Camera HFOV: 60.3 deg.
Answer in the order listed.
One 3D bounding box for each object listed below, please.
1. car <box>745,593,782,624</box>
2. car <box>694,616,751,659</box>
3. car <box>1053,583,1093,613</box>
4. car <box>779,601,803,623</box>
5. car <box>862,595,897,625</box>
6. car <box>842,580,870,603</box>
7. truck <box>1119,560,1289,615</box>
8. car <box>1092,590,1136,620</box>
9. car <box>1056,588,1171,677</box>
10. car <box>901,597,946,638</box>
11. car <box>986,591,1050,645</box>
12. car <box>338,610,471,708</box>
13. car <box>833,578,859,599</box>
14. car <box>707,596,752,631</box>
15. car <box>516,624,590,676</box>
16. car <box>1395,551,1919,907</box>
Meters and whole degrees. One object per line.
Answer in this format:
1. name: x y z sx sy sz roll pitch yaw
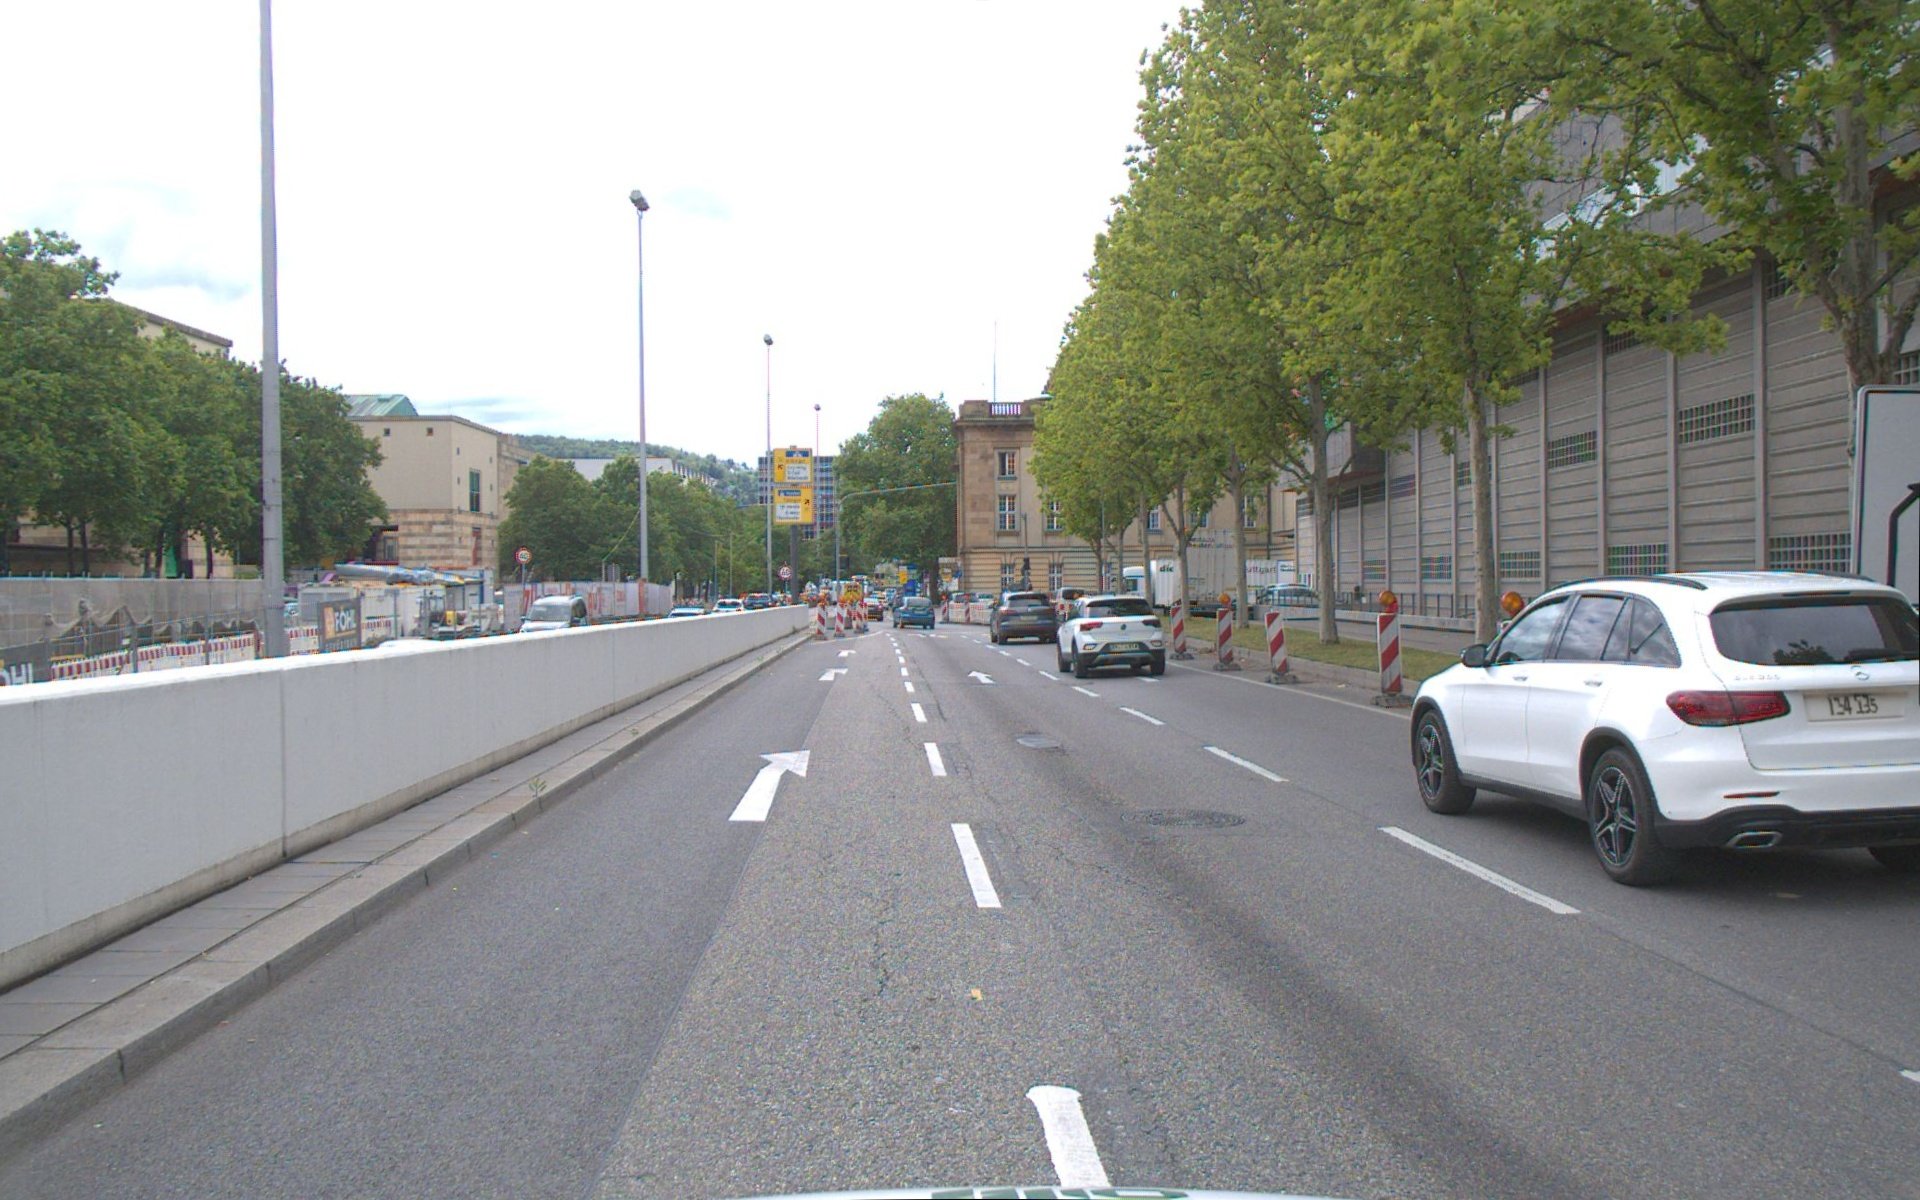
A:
1. car: -11.060 0.473 93.195 1.715 1.595 3.376 -3 0 -1
2. car: -9.287 1.436 65.039 1.715 1.595 4.330 -1 0 -2
3. car: 6.248 -0.080 91.806 1.715 1.595 4.329 0 -1 -2
4. car: -12.658 0.861 124.018 1.716 1.595 4.326 -1 0 -5
5. car: -5.019 0.612 103.731 1.785 1.771 4.481 1 0 2
6. car: -11.523 -0.981 183.580 2.529 2.415 5.528 -1 1 2
7. truck: 14.643 -0.752 99.724 9.827 3.104 2.568 -1 -1 -2
8. car: 8.479 0.297 91.365 1.819 1.595 4.329 0 -1 -2
9. car: 3.019 0.627 33.367 1.715 1.595 4.329 -3 0 -2
10. car: -1.683 0.804 77.834 1.785 1.771 4.481 -1 1 3
11. car: 1.850 0.566 54.029 1.786 1.595 4.478 -3 0 -1
12. car: -13.209 1.349 39.557 1.954 2.048 3.998 -1 2 -3
13. car: -13.969 -1.418 202.391 2.529 2.415 5.528 -1 1 2
14. car: -10.850 0.615 77.946 1.715 1.595 3.376 0 0 -1
15. car: -14.034 1.701 57.141 1.715 1.595 3.376 -3 0 -1
16. car: 4.332 0.585 10.296 1.776 1.671 4.549 -2 1 -3
